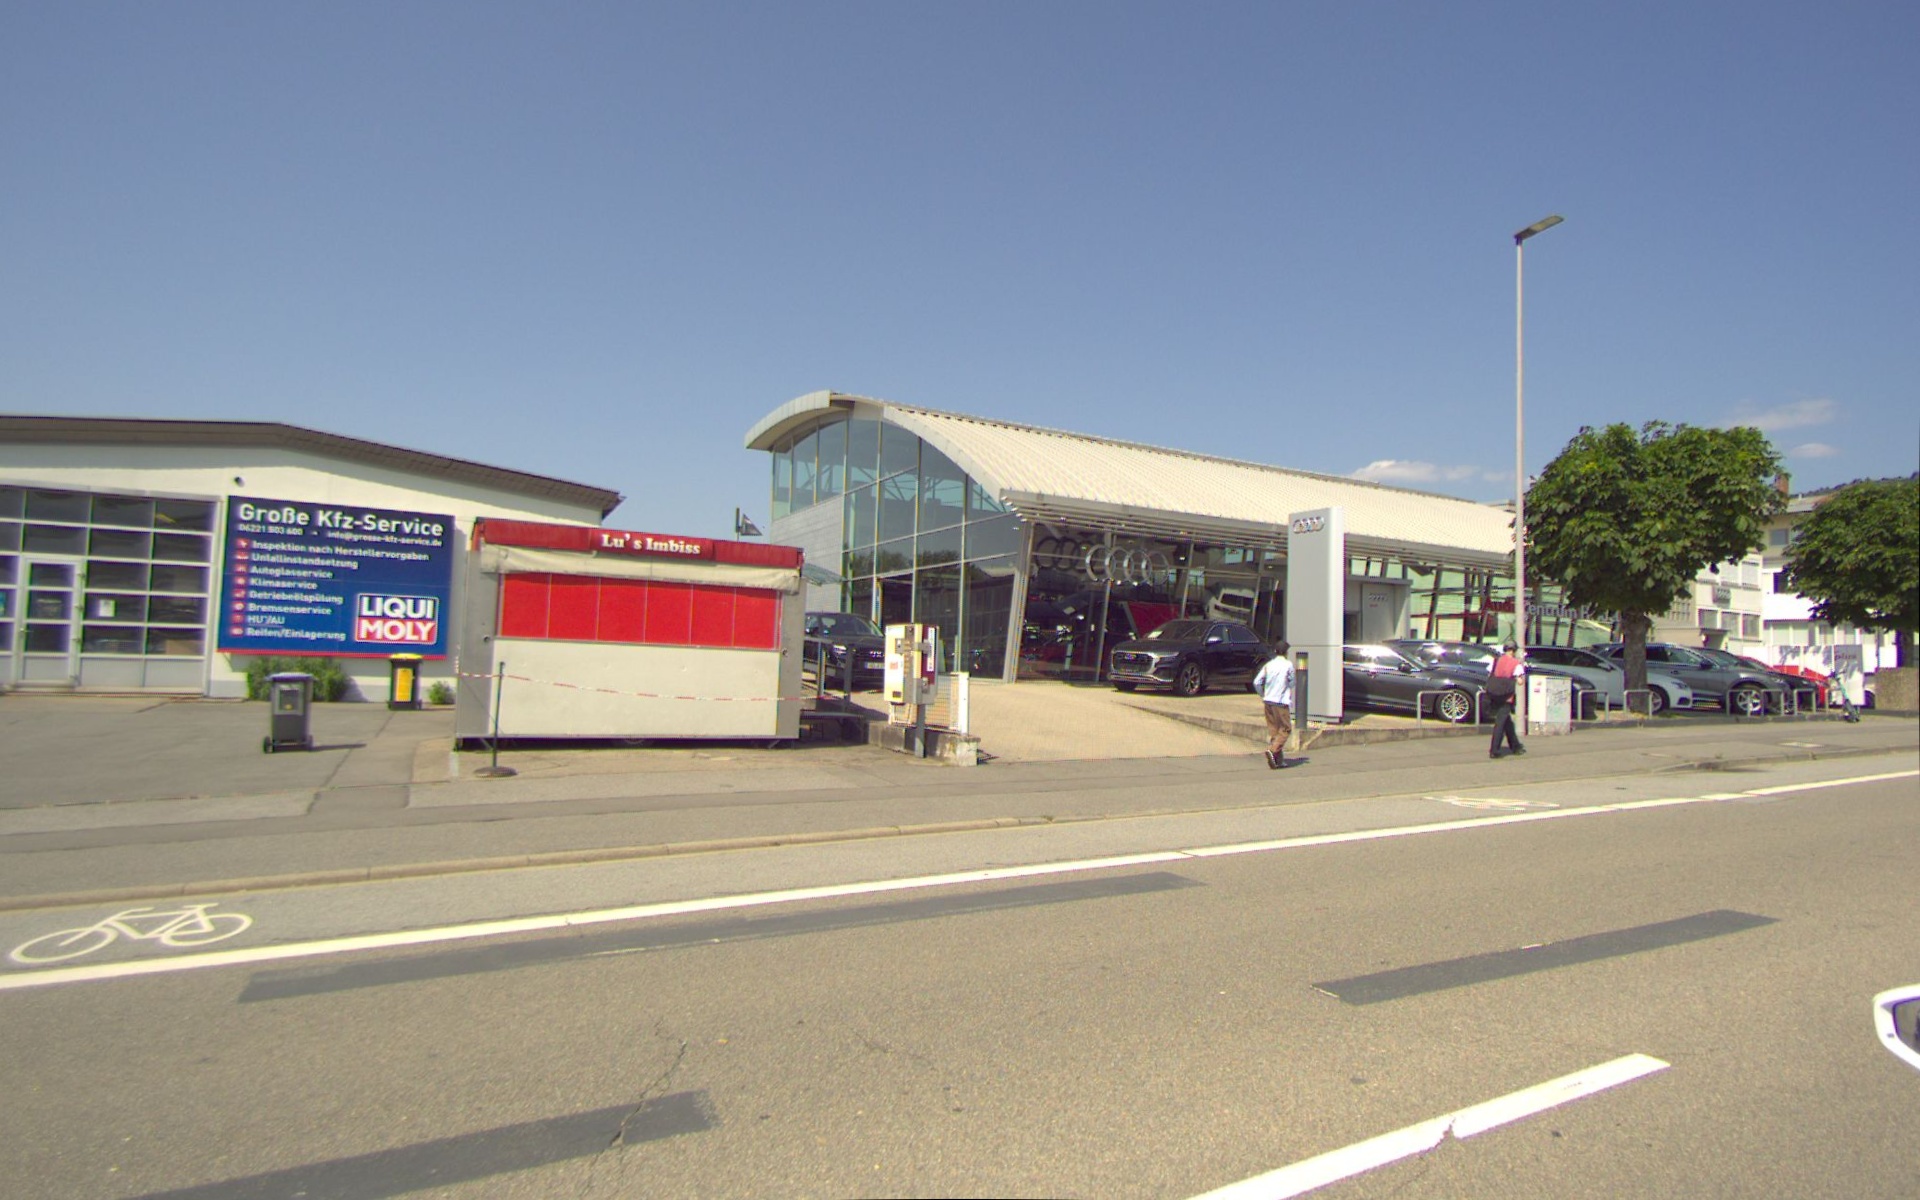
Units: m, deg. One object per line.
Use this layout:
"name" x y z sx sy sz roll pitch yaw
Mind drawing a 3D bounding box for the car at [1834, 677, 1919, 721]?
"car" 34.480 3.565 35.913 1.878 1.476 4.503 3 -4 -30

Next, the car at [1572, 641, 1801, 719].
"car" 18.446 1.999 25.788 4.495 1.719 1.858 1 -2 26

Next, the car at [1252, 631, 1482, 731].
"car" 8.268 1.559 20.495 4.083 1.478 1.906 5 1 26

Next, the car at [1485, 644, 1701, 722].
"car" 14.960 1.933 24.030 4.124 1.514 1.873 2 -2 26

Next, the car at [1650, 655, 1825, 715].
"car" 23.248 2.500 30.235 3.929 1.570 1.856 0 -3 31

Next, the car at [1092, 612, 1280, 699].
"car" 5.351 1.302 23.428 4.702 1.742 1.974 4 -1 -44

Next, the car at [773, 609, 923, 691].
"car" -2.475 1.047 21.342 1.873 1.545 3.973 3 -3 -27

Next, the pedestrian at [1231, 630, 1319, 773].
"pedestrian" 4.315 1.372 13.758 0.900 1.872 0.720 3 -3 -27

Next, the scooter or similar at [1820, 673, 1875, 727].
"scooter or similar" 21.670 2.428 24.528 1.477 1.264 0.738 4 -3 -37

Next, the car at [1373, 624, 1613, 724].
"car" 11.604 1.549 22.172 4.399 1.631 1.963 4 3 26

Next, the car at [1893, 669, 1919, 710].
"car" 37.001 3.471 36.731 1.805 1.463 3.866 6 -1 -33

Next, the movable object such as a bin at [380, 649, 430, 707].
"movable object such as a bin" -10.651 1.496 19.304 0.678 1.062 0.586 2 -1 -16

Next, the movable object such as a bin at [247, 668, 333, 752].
"movable object such as a bin" -7.980 1.301 11.986 0.678 0.935 0.571 2 -1 -16

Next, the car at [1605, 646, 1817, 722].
"car" 20.654 2.266 27.883 4.397 1.730 1.909 2 -2 26

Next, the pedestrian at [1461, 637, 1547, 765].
"pedestrian" 8.377 1.535 15.478 1.034 1.892 0.729 3 -3 -29

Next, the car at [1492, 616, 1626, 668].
"car" 21.293 1.503 35.748 3.935 1.706 1.994 3 -3 -16
